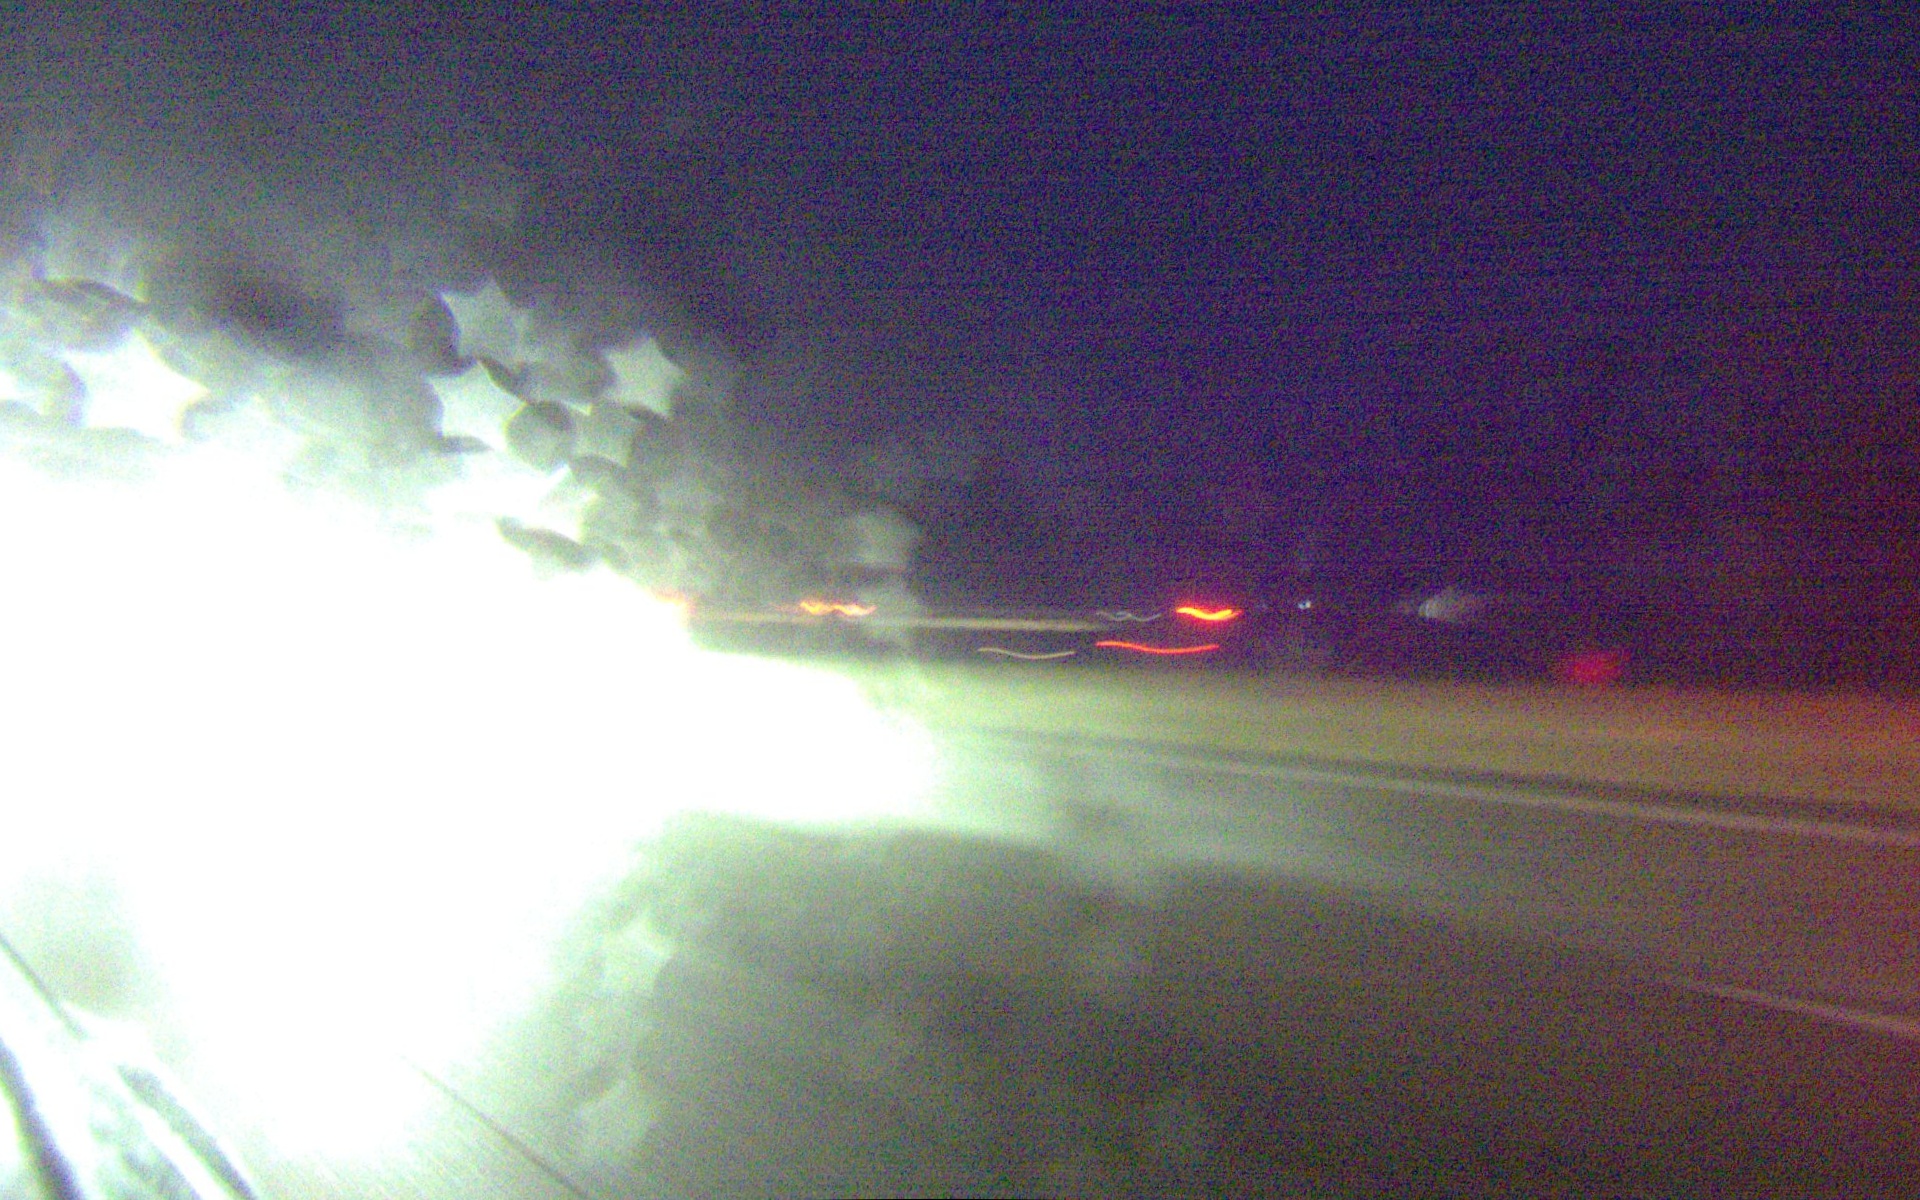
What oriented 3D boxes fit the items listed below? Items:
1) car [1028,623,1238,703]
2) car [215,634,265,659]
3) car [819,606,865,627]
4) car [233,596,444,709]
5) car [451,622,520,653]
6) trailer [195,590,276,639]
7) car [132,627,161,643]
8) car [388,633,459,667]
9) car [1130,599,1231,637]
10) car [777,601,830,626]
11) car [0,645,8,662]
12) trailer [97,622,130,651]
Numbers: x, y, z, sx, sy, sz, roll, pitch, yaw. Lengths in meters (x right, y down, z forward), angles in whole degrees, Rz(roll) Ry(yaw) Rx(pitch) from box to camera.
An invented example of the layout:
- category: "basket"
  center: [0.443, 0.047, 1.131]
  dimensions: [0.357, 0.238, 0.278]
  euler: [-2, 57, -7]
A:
- category: "car"
  center: [3.779, 1.345, 22.557]
  dimensions: [4.291, 1.538, 1.820]
  euler: [0, -3, 42]
- category: "car"
  center: [-48.662, 3.118, 68.352]
  dimensions: [4.291, 1.538, 1.820]
  euler: [0, -3, 42]
- category: "car"
  center: [-8.294, 1.143, 71.098]
  dimensions: [1.747, 1.416, 3.247]
  euler: [0, -1, -40]
- category: "car"
  center: [-12.229, 0.892, 19.724]
  dimensions: [5.556, 1.898, 2.113]
  euler: [0, -1, 43]
- category: "car"
  center: [-25.398, 1.998, 54.124]
  dimensions: [4.291, 1.538, 1.820]
  euler: [-2, -1, 42]
- category: "trailer"
  center: [-64.809, 1.219, 90.323]
  dimensions: [13.927, 4.029, 2.783]
  euler: [0, -3, 42]
- category: "car"
  center: [-77.196, 3.311, 96.057]
  dimensions: [3.702, 1.309, 1.596]
  euler: [0, -3, 44]
- category: "car"
  center: [-26.790, 2.476, 50.465]
  dimensions: [4.291, 1.538, 1.714]
  euler: [0, -3, 42]
- category: "car"
  center: [10.789, 0.889, 49.765]
  dimensions: [1.969, 1.785, 4.575]
  euler: [0, -1, -42]
- category: "car"
  center: [-12.719, 1.109, 82.251]
  dimensions: [1.969, 1.947, 4.691]
  euler: [0, -1, -42]
- category: "car"
  center: [-77.253, 4.289, 80.572]
  dimensions: [3.988, 1.304, 1.689]
  euler: [-3, -5, 40]
- category: "trailer"
  center: [-144.048, 6.190, 172.130]
  dimensions: [13.920, 4.578, 2.520]
  euler: [0, -3, 44]
